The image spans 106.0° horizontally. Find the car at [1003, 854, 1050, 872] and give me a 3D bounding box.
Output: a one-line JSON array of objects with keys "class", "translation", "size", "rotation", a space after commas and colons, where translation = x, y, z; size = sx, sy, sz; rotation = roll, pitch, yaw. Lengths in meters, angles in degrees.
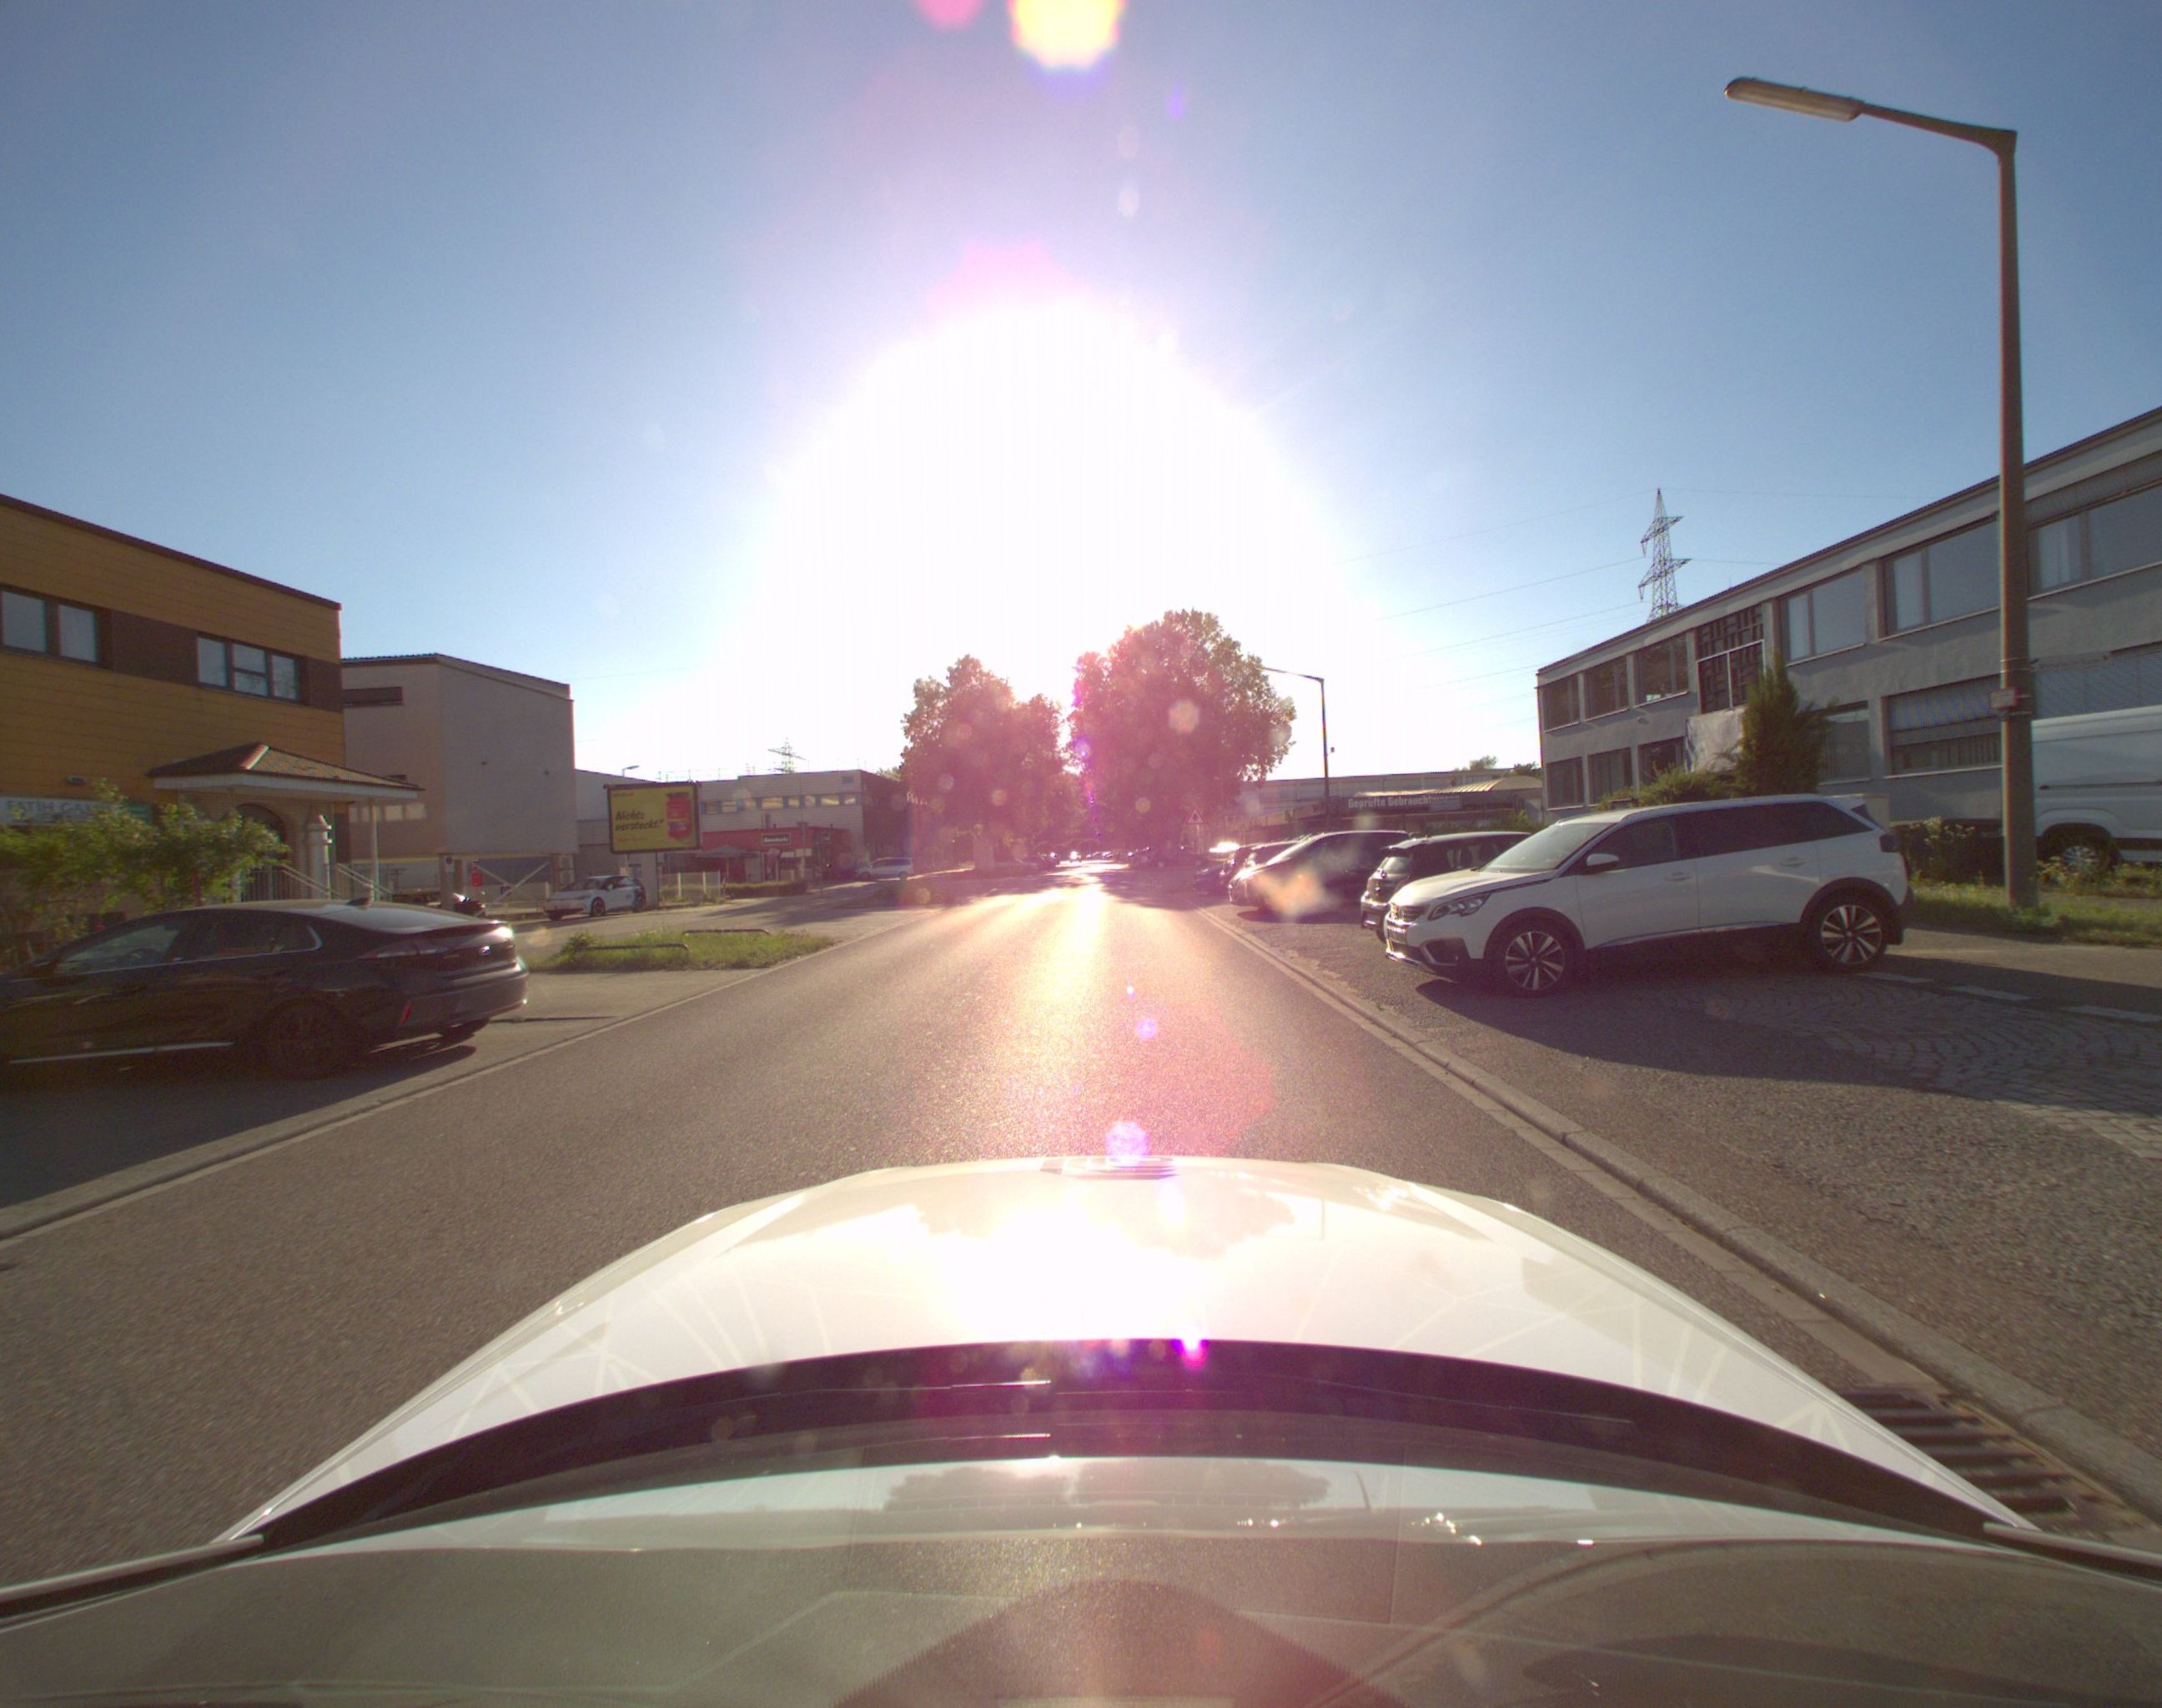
[{"class": "car", "translation": [-5.238, 0.862, 78.555], "size": [4.404, 1.517, 1.998], "rotation": [-2, 0, -2]}]

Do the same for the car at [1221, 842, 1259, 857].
[{"class": "car", "translation": [18.295, -0.508, 93.879], "size": [3.974, 1.546, 2.000], "rotation": [-2, 0, 0]}]

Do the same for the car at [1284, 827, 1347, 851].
[{"class": "car", "translation": [17.006, -1.067, 59.135], "size": [3.974, 1.634, 2.000], "rotation": [-2, 0, 0]}]

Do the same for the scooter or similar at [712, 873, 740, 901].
[{"class": "scooter or similar", "translation": [-15.759, 1.474, 36.133], "size": [0.629, 1.200, 1.372], "rotation": [-1, 0, -45]}]

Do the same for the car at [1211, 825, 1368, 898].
[{"class": "car", "translation": [5.971, 0.214, 23.641], "size": [3.976, 1.652, 1.742], "rotation": [-6, 0, -1]}]

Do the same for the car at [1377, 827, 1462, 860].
[{"class": "car", "translation": [19.478, -0.575, 46.950], "size": [3.976, 1.605, 1.999], "rotation": [-3, -3, -1]}]

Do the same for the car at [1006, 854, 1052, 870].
[{"class": "car", "translation": [-5.167, 0.785, 81.692], "size": [4.397, 1.517, 2.001], "rotation": [-2, 0, 2]}]

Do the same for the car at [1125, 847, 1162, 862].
[{"class": "car", "translation": [6.935, 0.087, 90.721], "size": [3.973, 1.381, 1.827], "rotation": [-3, 0, 1]}]

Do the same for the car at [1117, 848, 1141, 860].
[{"class": "car", "translation": [7.974, 0.004, 135.382], "size": [3.973, 1.776, 1.827], "rotation": [-3, 0, 1]}]

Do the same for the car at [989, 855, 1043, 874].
[{"class": "car", "translation": [-5.484, 0.877, 68.974], "size": [4.407, 1.403, 1.997], "rotation": [-2, 0, -4]}]

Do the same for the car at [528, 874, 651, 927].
[{"class": "car", "translation": [-18.894, 1.726, 31.587], "size": [1.986, 1.576, 4.343], "rotation": [-2, 2, 2]}]

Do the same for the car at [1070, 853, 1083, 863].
[{"class": "car", "translation": [-0.674, 0.604, 130.651], "size": [1.986, 1.608, 4.001], "rotation": [-1, 0, 2]}]

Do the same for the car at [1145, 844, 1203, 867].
[{"class": "car", "translation": [6.672, 0.130, 58.798], "size": [3.973, 1.415, 2.001], "rotation": [-3, 0, 1]}]

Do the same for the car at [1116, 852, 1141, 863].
[{"class": "car", "translation": [7.703, 0.566, 131.577], "size": [3.973, 1.415, 1.827], "rotation": [-3, 0, 1]}]

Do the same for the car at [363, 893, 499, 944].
[{"class": "car", "translation": [-25.192, 2.467, 31.764], "size": [1.986, 1.618, 4.002], "rotation": [-2, 0, 2]}]

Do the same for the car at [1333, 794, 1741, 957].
[{"class": "car", "translation": [5.785, 0.258, 10.766], "size": [4.234, 1.623, 1.921], "rotation": [-5, 0, 0]}]

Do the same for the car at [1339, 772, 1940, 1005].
[{"class": "car", "translation": [5.299, 0.298, 8.286], "size": [4.542, 1.597, 2.200], "rotation": [-6, 0, -2]}]

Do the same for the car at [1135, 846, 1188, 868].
[{"class": "car", "translation": [6.307, 0.229, 63.859], "size": [3.973, 1.415, 1.827], "rotation": [-3, 0, 1]}]

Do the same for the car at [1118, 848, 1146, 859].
[{"class": "car", "translation": [7.494, -0.064, 119.343], "size": [3.973, 1.415, 1.827], "rotation": [-3, 0, 1]}]

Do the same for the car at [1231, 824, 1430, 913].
[{"class": "car", "translation": [5.479, 0.329, 18.395], "size": [3.964, 1.613, 2.005], "rotation": [-4, -1, 8]}]

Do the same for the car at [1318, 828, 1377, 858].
[{"class": "car", "translation": [17.191, -0.686, 52.528], "size": [1.915, 1.770, 4.023], "rotation": [-5, -4, 45]}]

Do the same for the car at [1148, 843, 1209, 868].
[{"class": "car", "translation": [6.700, 0.099, 56.507], "size": [3.973, 1.415, 2.001], "rotation": [-3, 0, 1]}]

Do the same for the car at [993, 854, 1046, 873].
[{"class": "car", "translation": [-5.361, 0.835, 71.407], "size": [4.401, 1.517, 2.000], "rotation": [-2, 0, 0]}]

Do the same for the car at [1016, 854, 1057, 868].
[{"class": "car", "translation": [-5.014, 0.794, 92.648], "size": [4.397, 1.517, 2.001], "rotation": [-2, 0, 2]}]

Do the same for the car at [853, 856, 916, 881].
[{"class": "car", "translation": [-15.113, 1.110, 62.643], "size": [4.637, 1.741, 1.990], "rotation": [-2, 0, -15]}]

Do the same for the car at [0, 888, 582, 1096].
[{"class": "car", "translation": [-7.519, 1.157, 7.585], "size": [4.301, 1.460, 2.201], "rotation": [-2, 0, -2]}]

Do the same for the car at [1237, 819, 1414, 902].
[{"class": "car", "translation": [6.294, 0.173, 21.318], "size": [3.972, 1.652, 1.802], "rotation": [-6, 0, 2]}]

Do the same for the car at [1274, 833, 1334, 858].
[{"class": "car", "translation": [16.934, -0.633, 61.955], "size": [3.974, 1.700, 2.000], "rotation": [-2, 0, 0]}]

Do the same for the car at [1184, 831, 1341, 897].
[{"class": "car", "translation": [5.732, 0.308, 26.073], "size": [4.512, 1.672, 1.752], "rotation": [-5, 0, -2]}]

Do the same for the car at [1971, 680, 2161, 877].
[{"class": "car", "translation": [15.441, -1.034, 10.176], "size": [1.986, 2.625, 6.139], "rotation": [-2, 0, 2]}]

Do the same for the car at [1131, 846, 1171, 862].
[{"class": "car", "translation": [7.215, 0.050, 84.735], "size": [3.973, 1.415, 1.827], "rotation": [-3, 0, 1]}]
